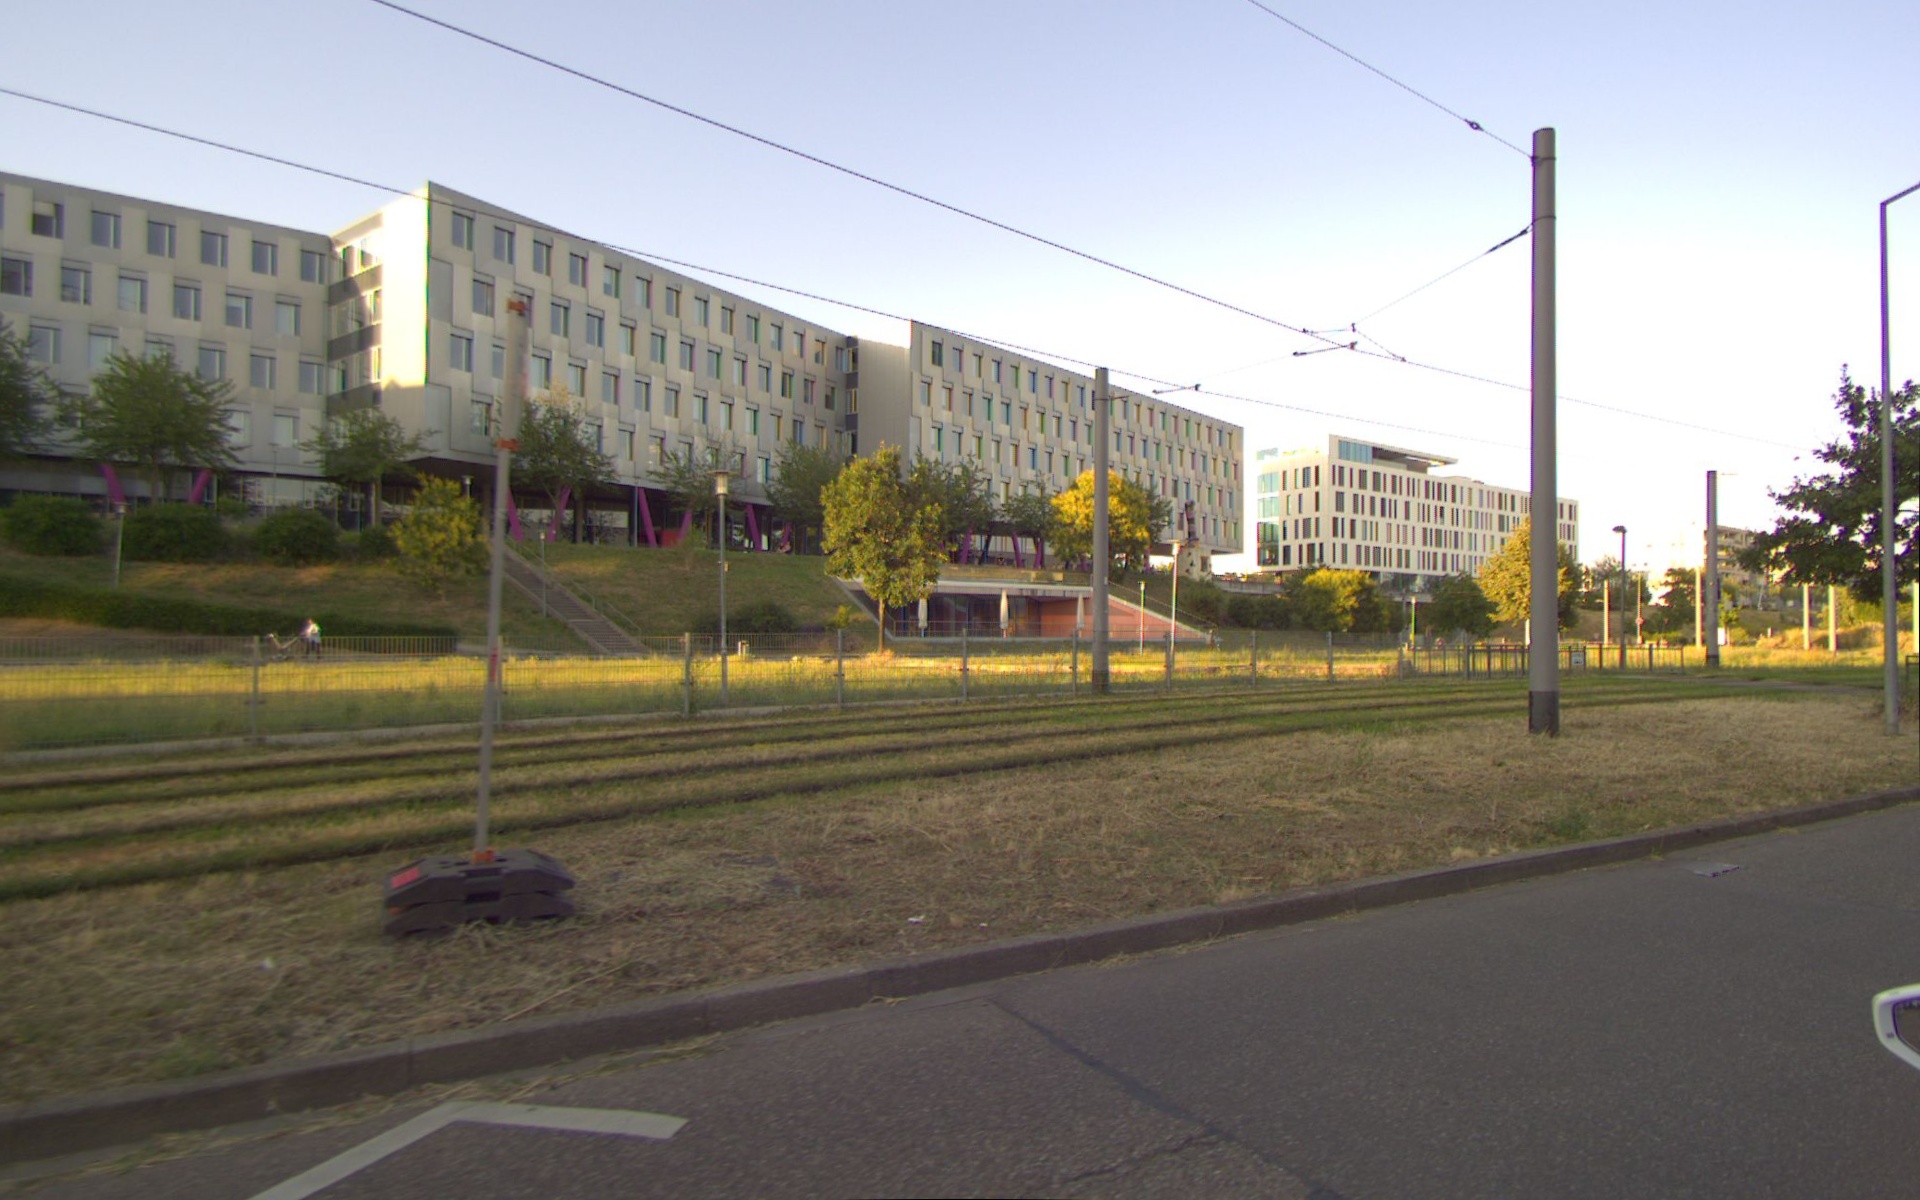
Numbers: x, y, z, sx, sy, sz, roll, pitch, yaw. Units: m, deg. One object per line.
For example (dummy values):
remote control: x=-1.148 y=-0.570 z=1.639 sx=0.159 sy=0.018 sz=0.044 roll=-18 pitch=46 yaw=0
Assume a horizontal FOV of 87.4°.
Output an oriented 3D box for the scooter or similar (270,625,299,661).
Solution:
scooter or similar: x=-24.138 y=1.540 z=35.909 sx=0.781 sy=1.260 sz=0.613 roll=1 pitch=0 yaw=-30

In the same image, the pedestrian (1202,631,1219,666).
pedestrian: x=15.236 y=2.929 z=61.061 sx=0.781 sy=2.110 sz=0.613 roll=1 pitch=0 yaw=-30

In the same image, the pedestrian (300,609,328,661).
pedestrian: x=-23.416 y=1.260 z=36.424 sx=0.781 sy=1.861 sz=0.613 roll=1 pitch=0 yaw=-30

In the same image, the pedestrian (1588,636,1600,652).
pedestrian: x=69.250 y=4.791 z=109.785 sx=0.803 sy=1.809 sz=0.784 roll=1 pitch=-2 yaw=-26
